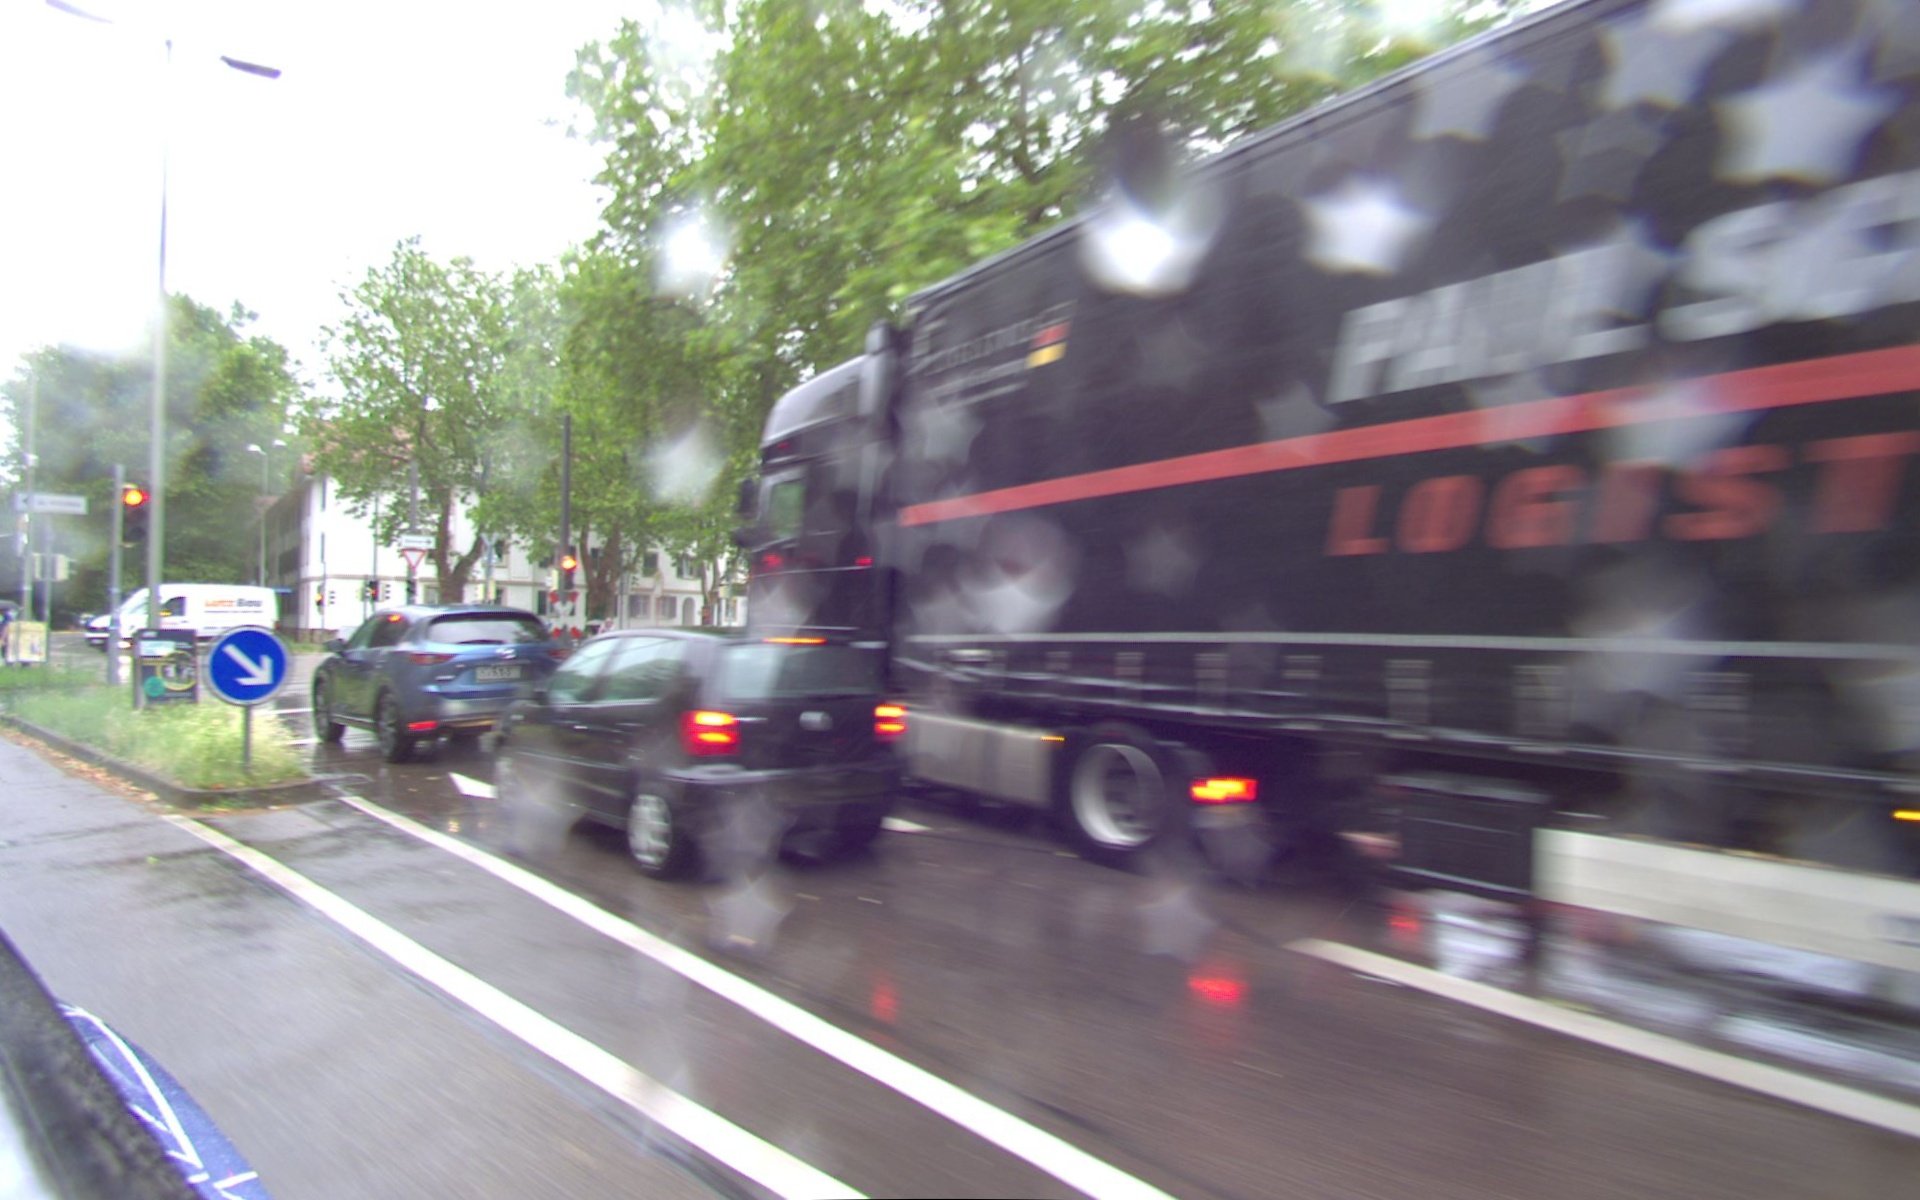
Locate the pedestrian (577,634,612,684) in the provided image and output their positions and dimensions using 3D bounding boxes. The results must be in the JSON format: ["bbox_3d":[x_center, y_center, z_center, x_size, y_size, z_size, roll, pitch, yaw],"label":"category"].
[{"bbox_3d":[-13.690,2.207,37.932,0.854,1.846,0.843,0,-3,22],"label":"pedestrian"}]

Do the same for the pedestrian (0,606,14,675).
[{"bbox_3d":[-22.670,0.936,23.486,0.641,1.593,0.853,-1,-3,34],"label":"pedestrian"}]

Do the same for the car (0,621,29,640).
[{"bbox_3d":[-80.139,2.544,85.445,1.968,1.551,4.007,2,-2,-39],"label":"car"}]

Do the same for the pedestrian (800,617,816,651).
[{"bbox_3d":[-8.451,1.898,56.260,0.847,1.839,0.850,1,-3,-6],"label":"pedestrian"}]

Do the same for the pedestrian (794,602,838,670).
[{"bbox_3d":[-4.310,1.058,30.233,0.896,1.979,1.218,2,-2,-28],"label":"pedestrian"}]

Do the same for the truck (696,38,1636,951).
[{"bbox_3d":[0.931,-0.386,8.340,3.406,4.110,6.986,2,-2,-39],"label":"truck"}]

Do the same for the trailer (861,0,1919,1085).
[{"bbox_3d":[5.305,-0.557,2.861,3.398,4.080,15.078,3,-3,-39],"label":"trailer"}]

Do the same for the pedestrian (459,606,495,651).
[{"bbox_3d":[-18.669,1.106,39.111,0.844,1.701,0.853,0,-3,24],"label":"pedestrian"}]

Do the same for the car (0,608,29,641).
[{"bbox_3d":[-73.924,1.879,78.118,2.364,2.494,5.703,3,-3,-37],"label":"car"}]

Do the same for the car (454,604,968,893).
[{"bbox_3d":[-1.946,0.784,6.949,1.677,1.384,4.104,2,-3,-42],"label":"car"}]

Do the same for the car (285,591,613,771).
[{"bbox_3d":[-6.263,0.855,12.069,2.050,1.695,4.932,-1,-2,-45],"label":"car"}]

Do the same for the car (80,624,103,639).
[{"bbox_3d":[-107.665,3.901,125.424,1.969,1.820,4.355,2,-2,-42],"label":"car"}]

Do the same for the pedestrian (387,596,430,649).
[{"bbox_3d":[-17.961,0.750,32.983,0.854,1.701,0.843,0,-3,22],"label":"pedestrian"}]

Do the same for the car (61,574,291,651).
[{"bbox_3d":[-28.357,0.510,36.999,2.266,2.582,6.469,0,-2,19],"label":"car"}]

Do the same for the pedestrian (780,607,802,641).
[{"bbox_3d":[-9.265,1.331,55.532,0.847,1.800,0.850,3,-4,-42],"label":"pedestrian"}]
